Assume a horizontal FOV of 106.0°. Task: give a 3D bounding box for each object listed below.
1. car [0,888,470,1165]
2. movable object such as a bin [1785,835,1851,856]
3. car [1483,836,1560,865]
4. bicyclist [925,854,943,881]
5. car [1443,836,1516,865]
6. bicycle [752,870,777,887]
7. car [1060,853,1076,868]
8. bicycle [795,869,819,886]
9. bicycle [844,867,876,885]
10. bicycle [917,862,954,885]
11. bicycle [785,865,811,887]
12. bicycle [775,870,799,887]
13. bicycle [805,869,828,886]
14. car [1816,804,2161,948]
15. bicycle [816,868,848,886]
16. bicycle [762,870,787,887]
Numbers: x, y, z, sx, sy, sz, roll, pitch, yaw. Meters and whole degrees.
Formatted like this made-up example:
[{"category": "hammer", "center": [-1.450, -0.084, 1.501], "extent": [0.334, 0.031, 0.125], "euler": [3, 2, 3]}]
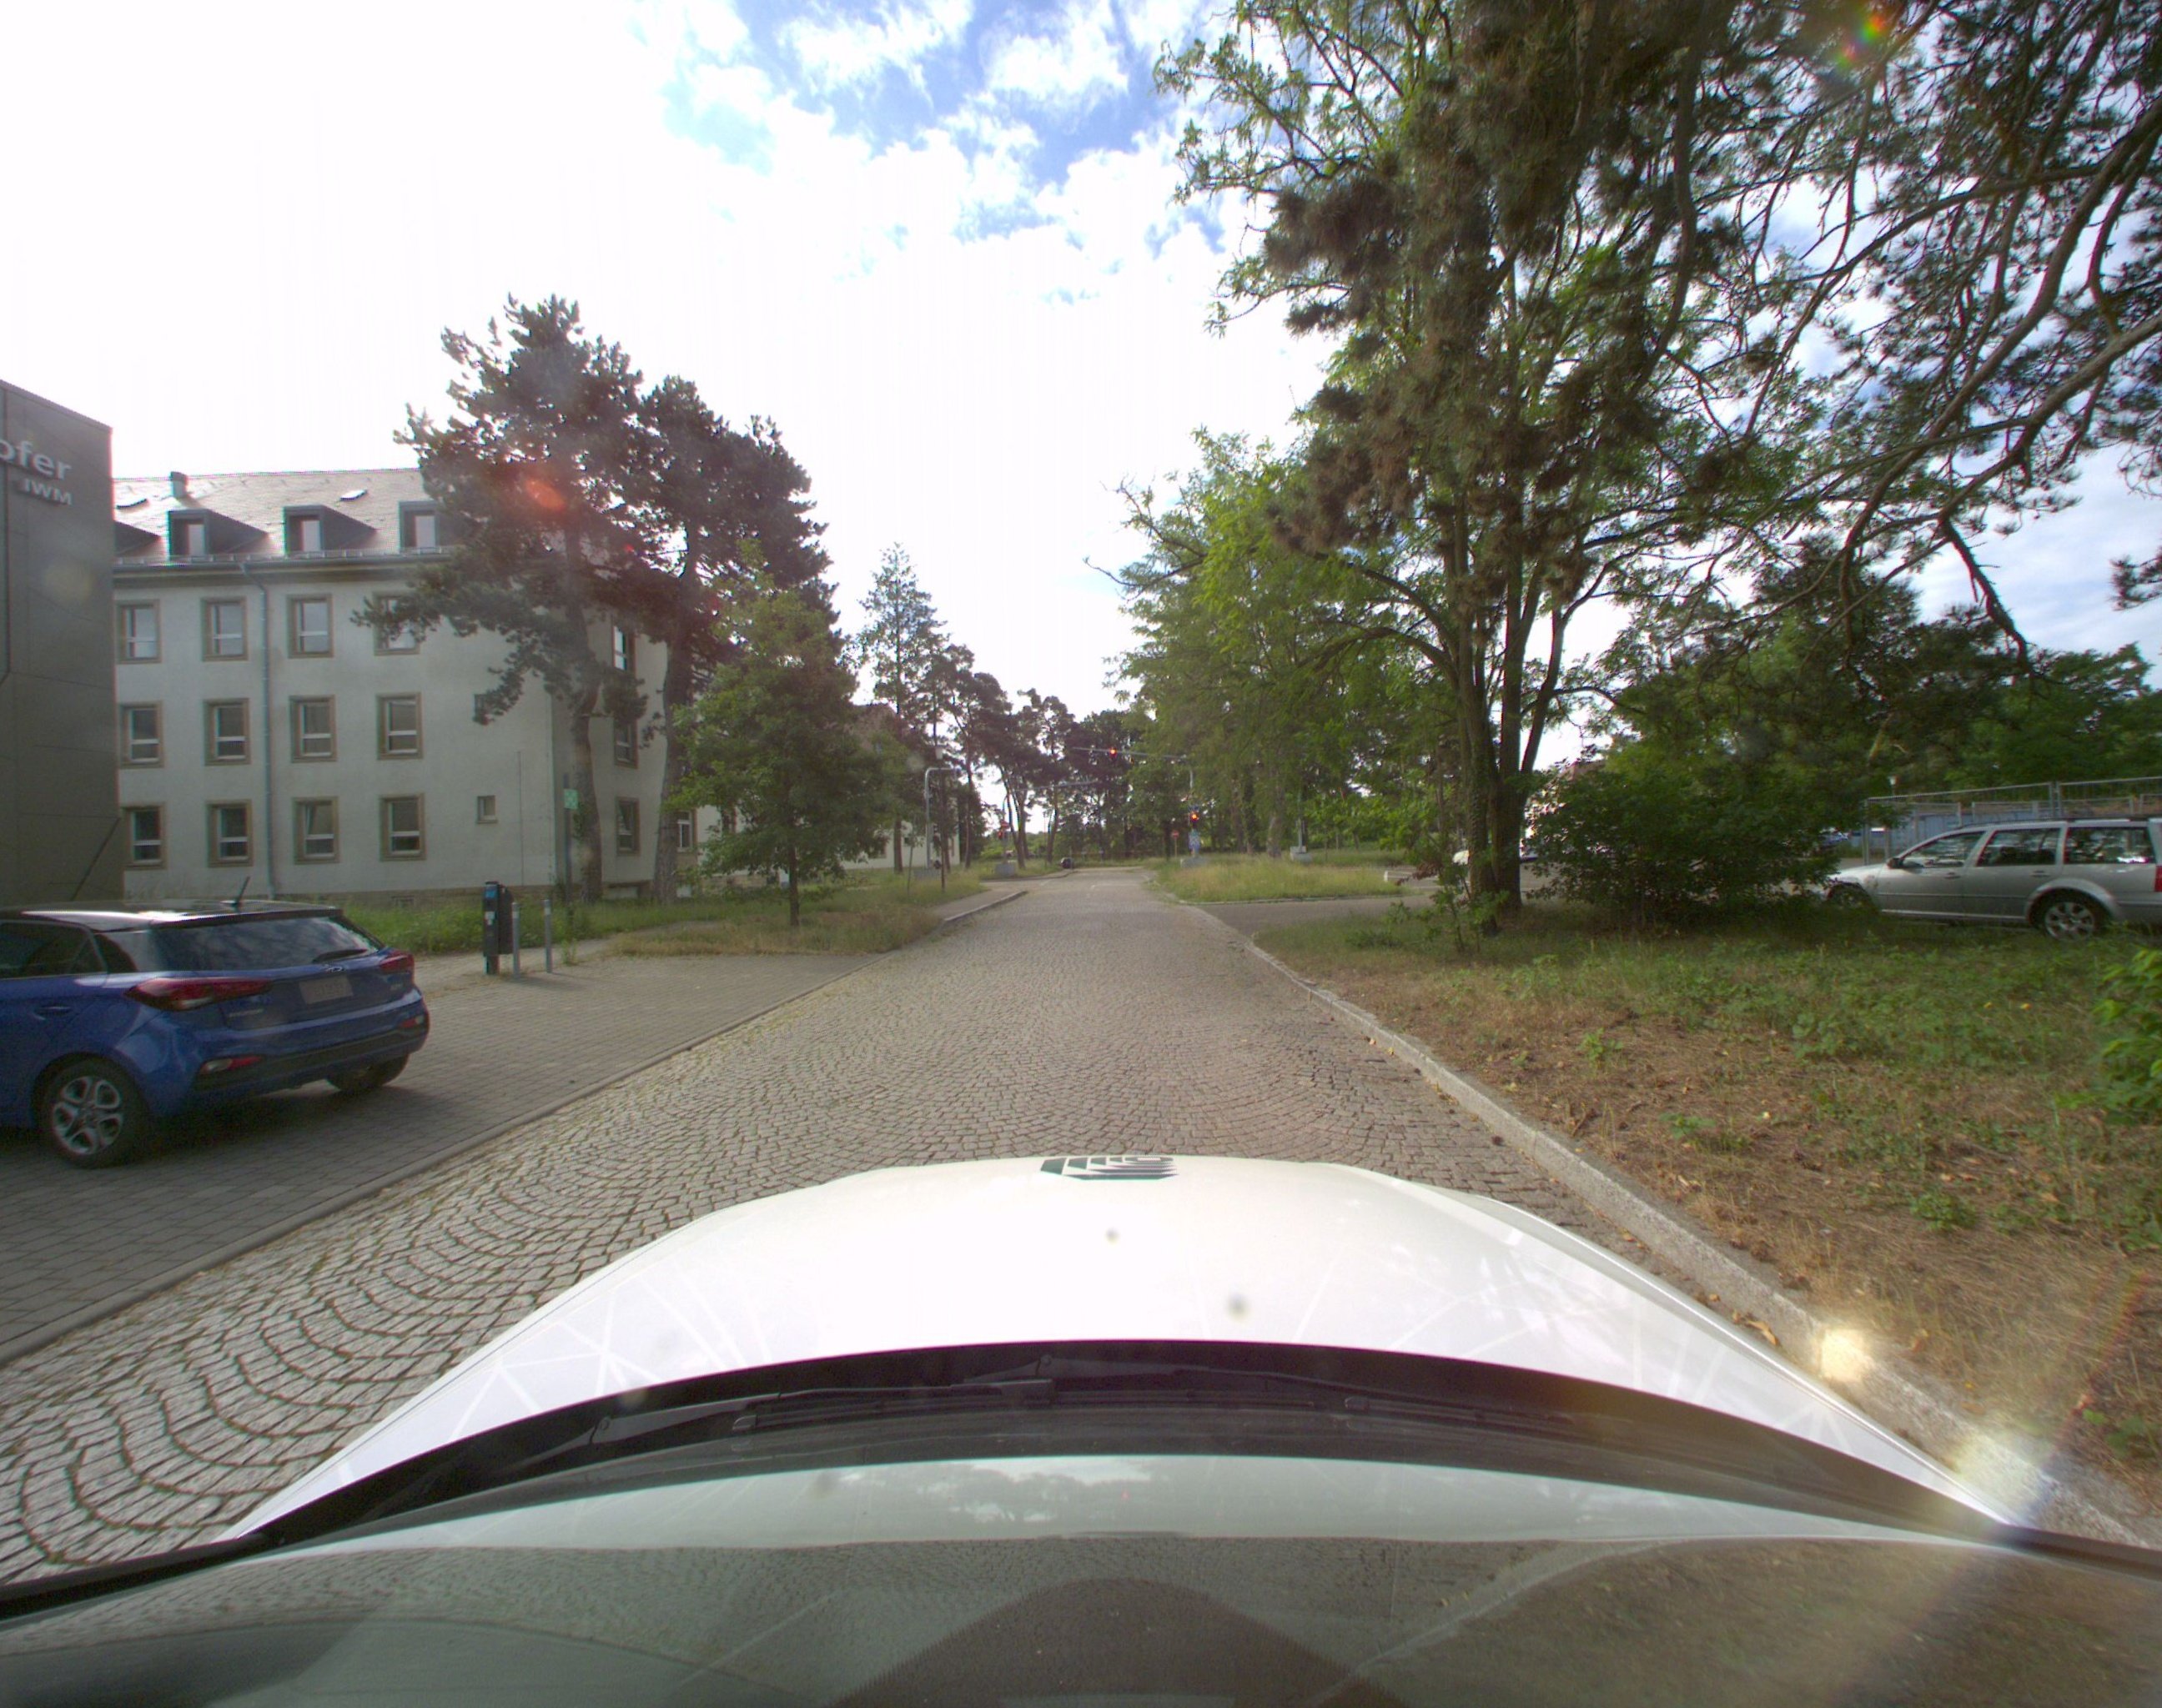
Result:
[{"category": "car", "center": [-6.771, 1.028, 5.630], "extent": [3.748, 1.478, 1.854], "euler": [-1, 0, 4]}, {"category": "movable object such as a bin", "center": [31.482, -0.371, 34.827], "extent": [1.179, 0.825, 1.957], "euler": [-2, 0, 6]}, {"category": "car", "center": [25.604, -0.168, 47.508], "extent": [1.988, 1.481, 4.422], "euler": [-2, -2, -2]}, {"category": "bicyclist", "center": [-9.535, 0.862, 52.795], "extent": [0.925, 1.697, 0.949], "euler": [-2, -1, -25]}, {"category": "car", "center": [23.089, -0.141, 47.387], "extent": [1.988, 1.481, 4.422], "euler": [-2, -2, -2]}, {"category": "bicycle", "center": [-21.659, 1.681, 55.813], "extent": [0.733, 1.076, 2.274], "euler": [-2, 0, 2]}, {"category": "car", "center": [-1.787, 0.868, 111.545], "extent": [2.048, 1.846, 4.001], "euler": [-2, 0, 1]}, {"category": "bicycle", "center": [-18.744, 1.624, 55.701], "extent": [0.733, 1.076, 2.274], "euler": [-2, 0, 2]}, {"category": "bicycle", "center": [-14.780, 1.475, 54.475], "extent": [1.848, 1.076, 0.832], "euler": [-2, 0, 3]}, {"category": "bicycle", "center": [-9.427, 1.231, 52.842], "extent": [2.190, 1.387, 0.931], "euler": [-2, 0, -26]}, {"category": "bicycle", "center": [-19.479, 1.503, 56.075], "extent": [0.733, 1.385, 2.713], "euler": [-2, 0, 2]}, {"category": "bicycle", "center": [-20.269, 1.663, 56.202], "extent": [0.733, 1.076, 2.274], "euler": [-2, 0, 2]}, {"category": "bicycle", "center": [-18.102, 1.596, 55.766], "extent": [0.733, 1.076, 2.274], "euler": [-2, 0, 2]}, {"category": "car", "center": [11.613, 0.231, 9.948], "extent": [1.640, 1.427, 4.073], "euler": [1, 0, 1]}, {"category": "bicycle", "center": [-16.663, 1.531, 54.481], "extent": [1.848, 1.076, 0.739], "euler": [-2, 0, 3]}, {"category": "bicycle", "center": [-20.931, 1.658, 55.724], "extent": [0.733, 1.076, 2.274], "euler": [-2, 0, 2]}]
